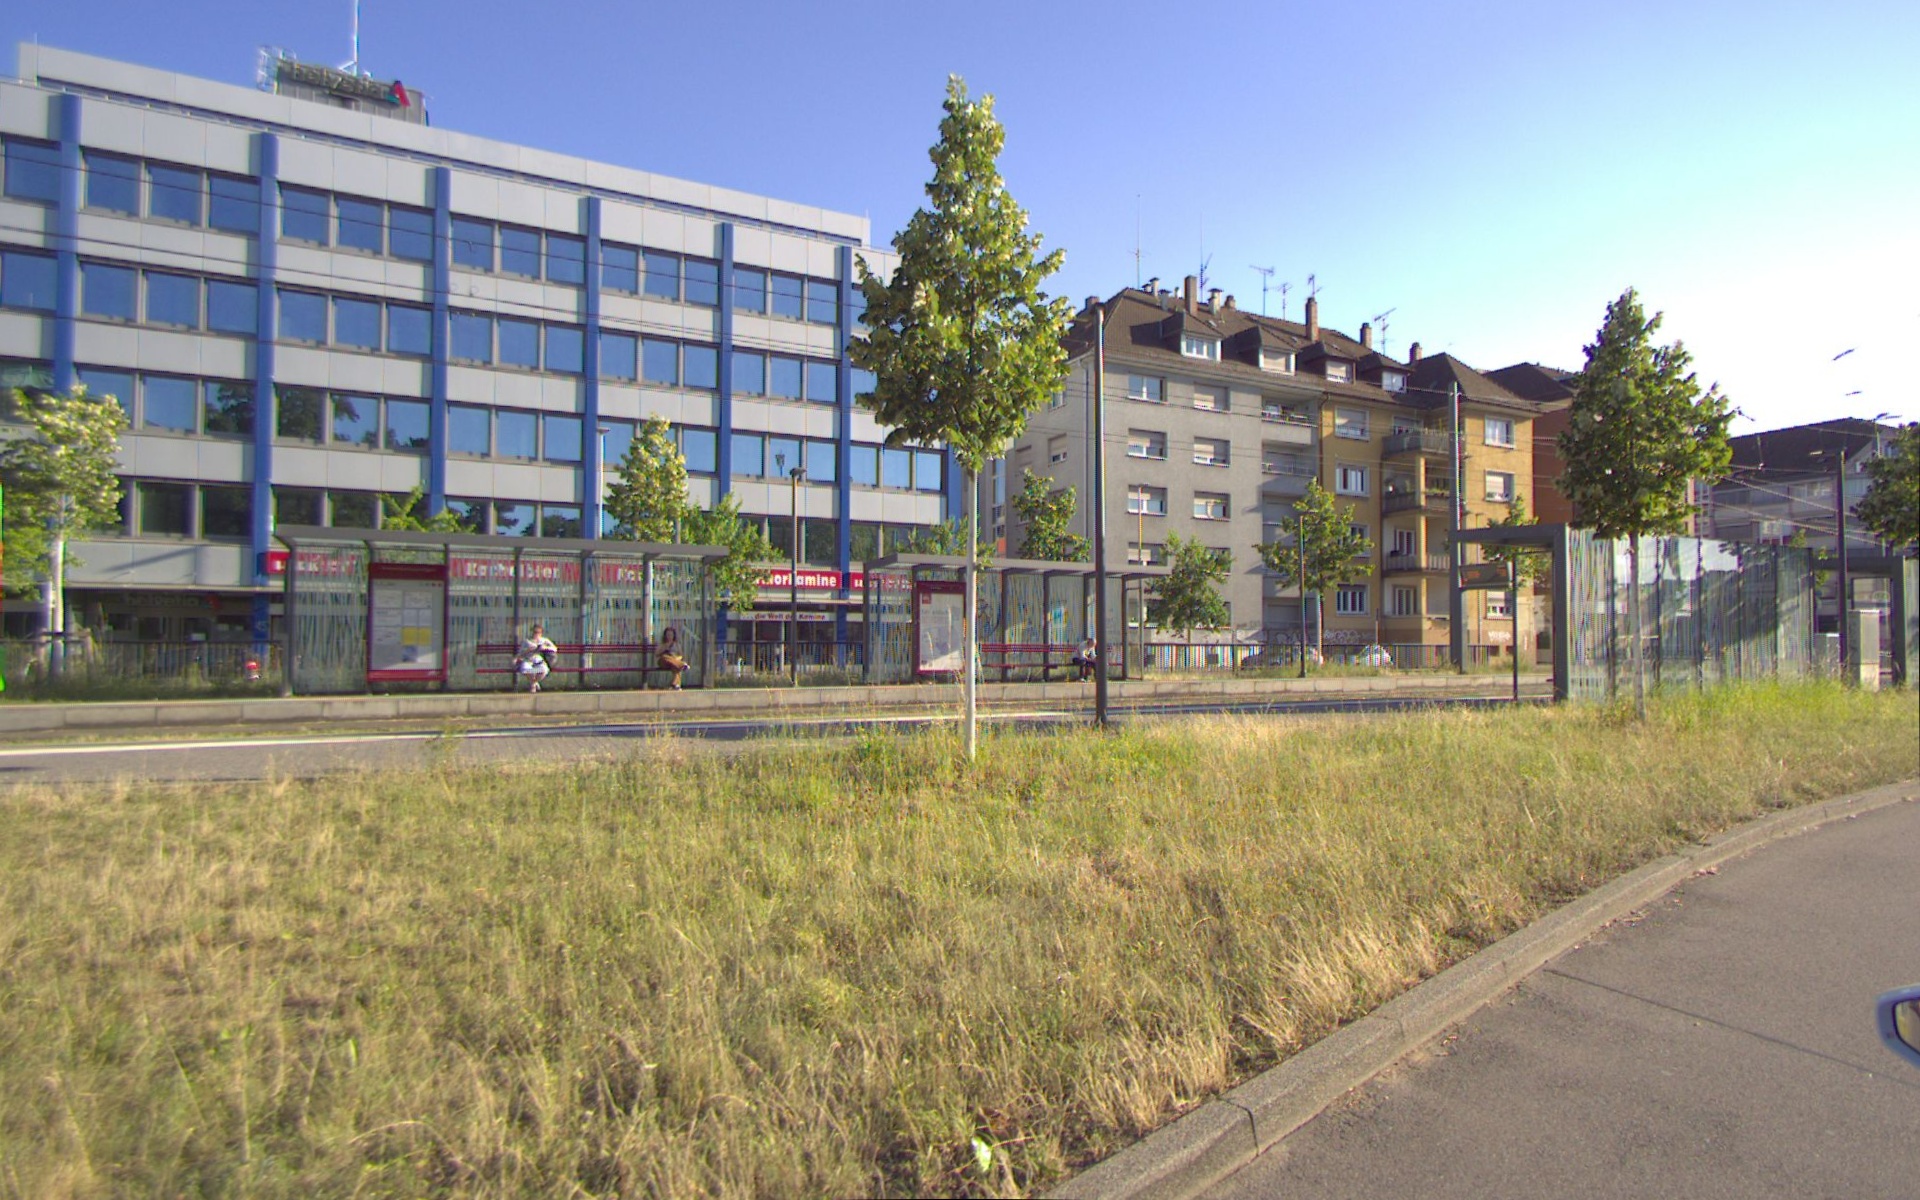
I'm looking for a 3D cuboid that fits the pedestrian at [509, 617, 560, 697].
[{"bbox_3d":[-7.896,1.042,18.614,0.793,1.429,0.835,1,-2,-28],"label":"pedestrian"}]

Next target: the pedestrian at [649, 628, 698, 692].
[{"bbox_3d":[-5.638,1.167,19.771,0.755,1.212,0.930,1,-2,-27],"label":"pedestrian"}]

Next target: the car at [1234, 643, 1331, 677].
[{"bbox_3d":[15.400,2.840,47.950,4.376,1.528,1.986,1,-3,-28],"label":"car"}]

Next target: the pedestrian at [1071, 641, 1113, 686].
[{"bbox_3d":[3.159,1.505,24.101,0.784,1.061,0.625,1,-2,-28],"label":"pedestrian"}]

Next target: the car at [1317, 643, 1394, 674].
[{"bbox_3d":[19.870,2.941,50.455,3.508,1.505,1.741,1,-3,-28],"label":"car"}]
